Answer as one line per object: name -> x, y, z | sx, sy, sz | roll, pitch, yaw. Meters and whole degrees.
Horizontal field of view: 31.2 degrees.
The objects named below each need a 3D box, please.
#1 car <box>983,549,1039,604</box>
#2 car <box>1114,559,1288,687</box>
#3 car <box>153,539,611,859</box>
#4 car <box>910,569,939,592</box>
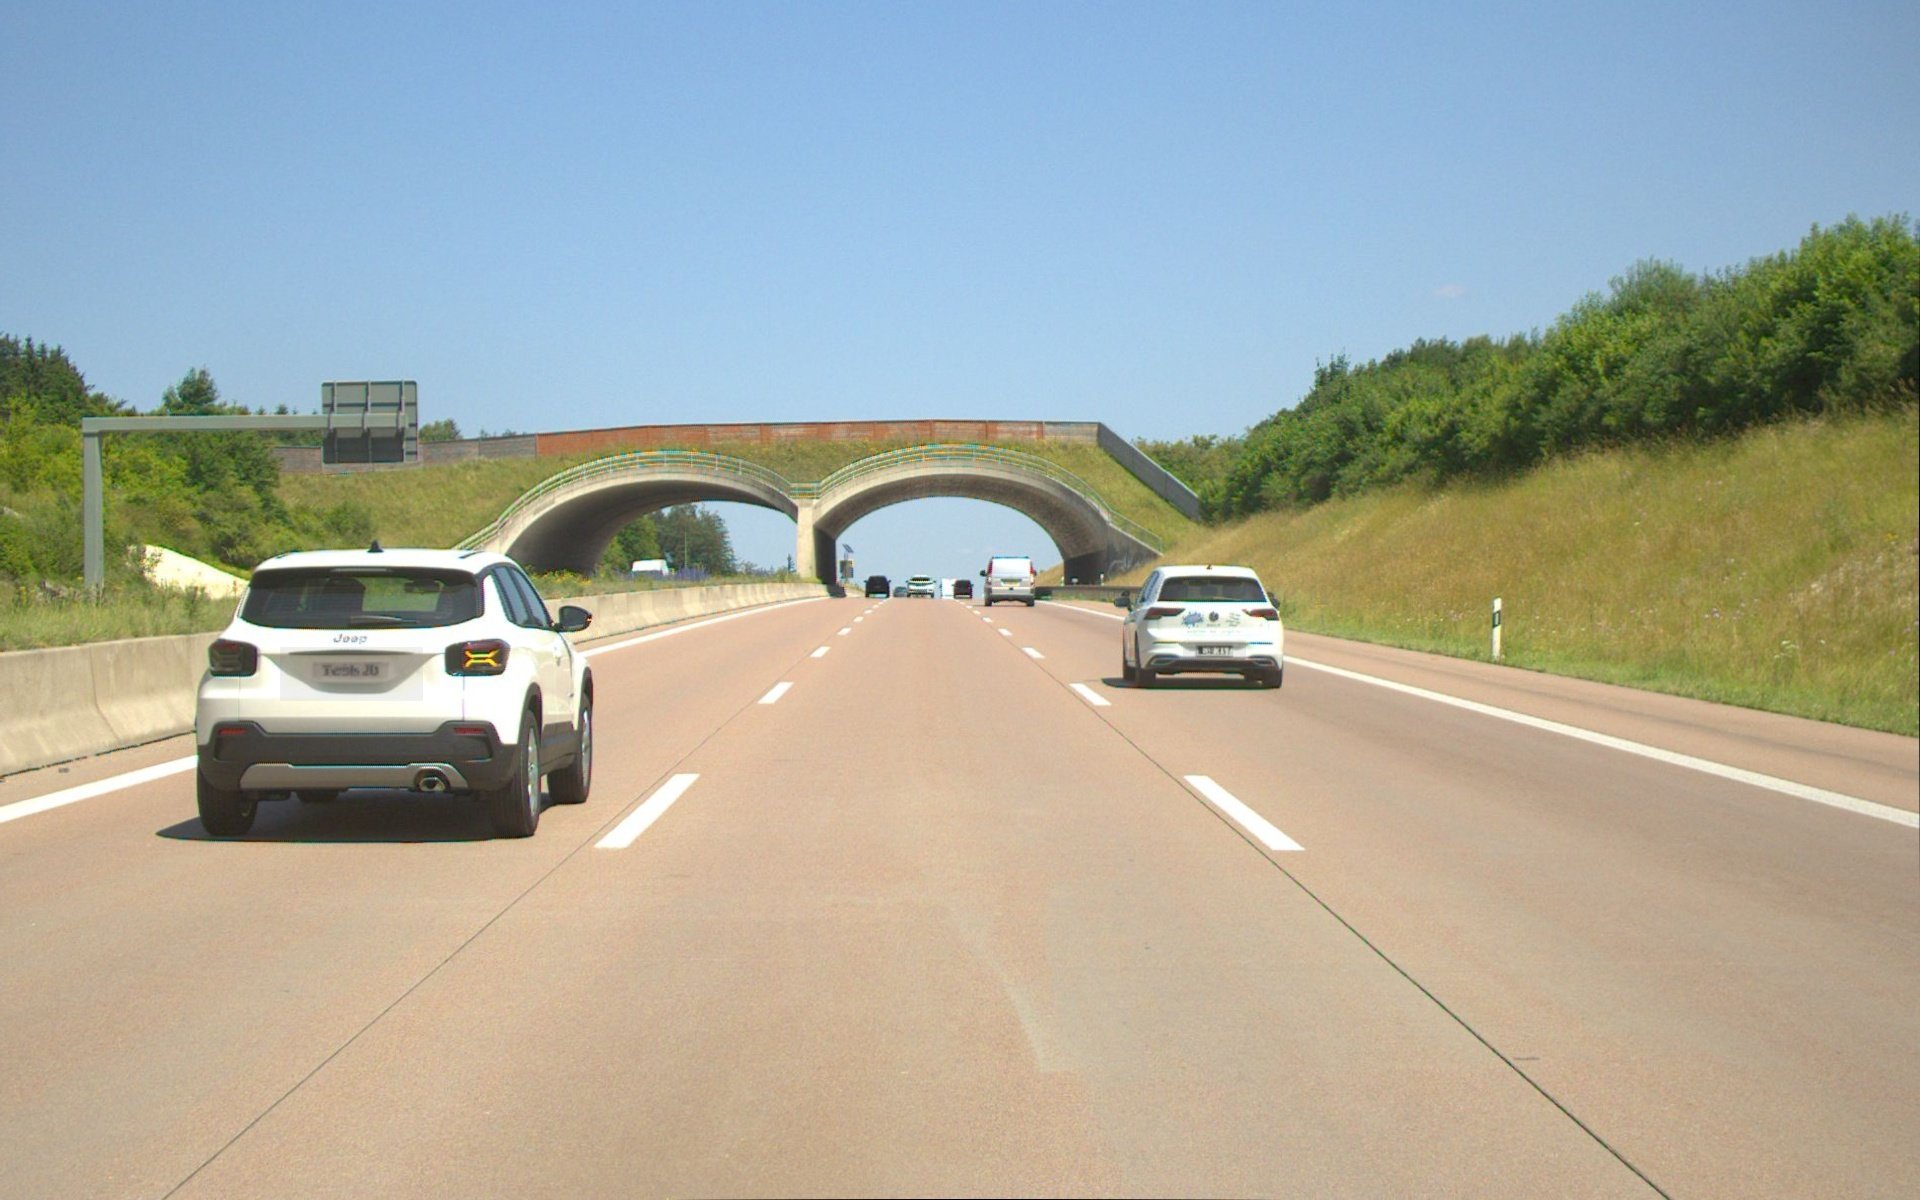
car -> 1.976, -0.922, 132.474 | 2.110, 2.047, 4.000 | 0, 2, 1
car -> 2.864, 0.239, 41.639 | 1.891, 1.393, 4.000 | 1, 1, 1
car -> -3.158, 0.459, 19.753 | 1.879, 1.602, 4.834 | 0, 1, -1
car -> -2.410, -1.348, 232.909 | 1.891, 1.458, 4.000 | 1, 1, 0
